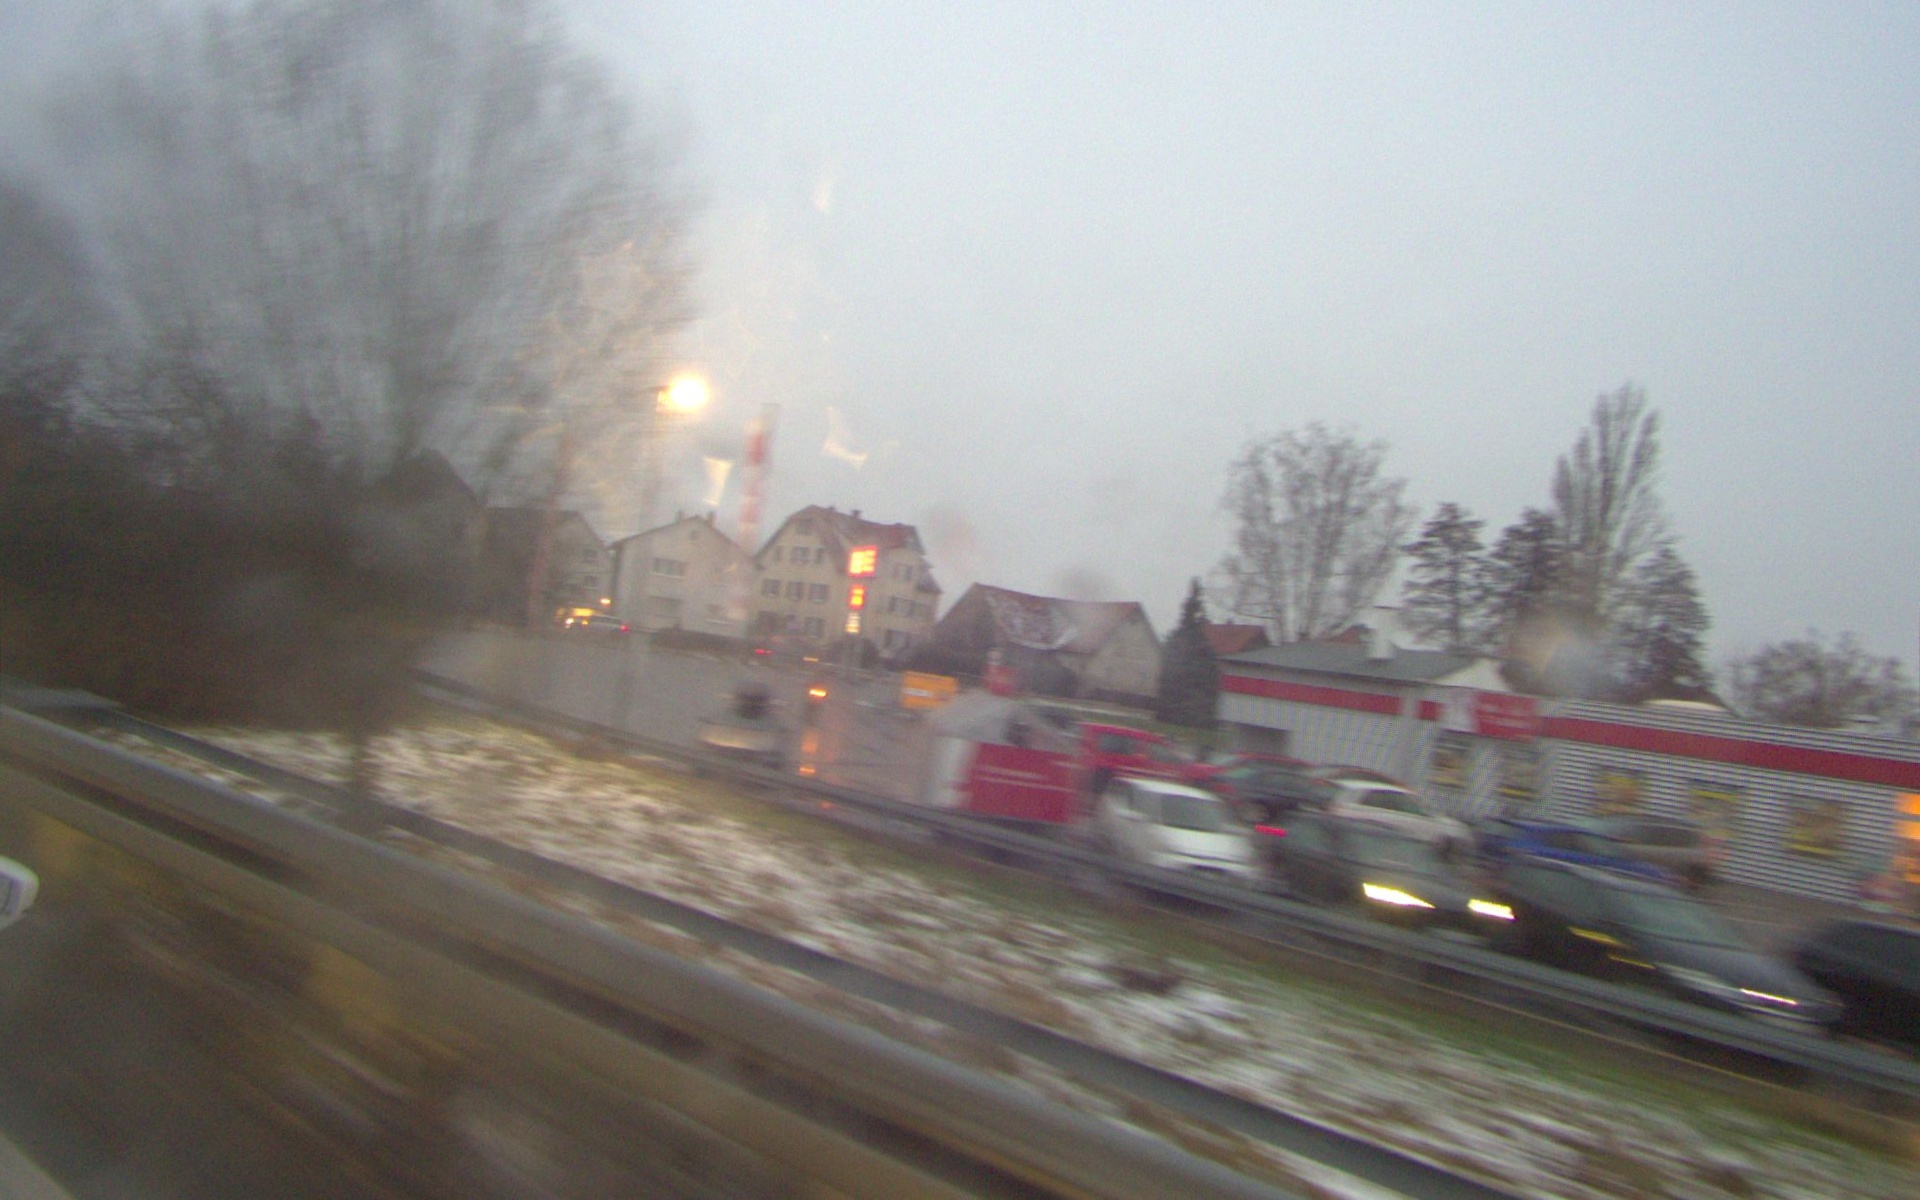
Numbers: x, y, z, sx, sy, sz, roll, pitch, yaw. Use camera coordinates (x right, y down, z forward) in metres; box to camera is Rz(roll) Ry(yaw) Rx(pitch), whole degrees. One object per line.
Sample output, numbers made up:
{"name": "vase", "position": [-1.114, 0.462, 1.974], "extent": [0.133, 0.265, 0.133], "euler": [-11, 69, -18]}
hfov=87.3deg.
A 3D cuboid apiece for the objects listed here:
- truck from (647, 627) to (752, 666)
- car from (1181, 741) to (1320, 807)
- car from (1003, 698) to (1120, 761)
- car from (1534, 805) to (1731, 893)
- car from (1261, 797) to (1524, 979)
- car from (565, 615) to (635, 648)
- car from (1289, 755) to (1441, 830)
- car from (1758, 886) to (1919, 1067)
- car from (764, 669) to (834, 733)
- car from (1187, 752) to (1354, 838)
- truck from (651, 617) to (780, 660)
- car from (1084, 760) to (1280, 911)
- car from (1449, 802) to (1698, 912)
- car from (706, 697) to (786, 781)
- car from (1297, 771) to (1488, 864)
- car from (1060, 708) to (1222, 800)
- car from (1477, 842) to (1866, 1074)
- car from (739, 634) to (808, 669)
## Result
{"name": "truck", "position": [-15.548, 2.768, 60.008], "extent": [5.717, 1.564, 1.933], "euler": [9, -2, -24]}
{"name": "car", "position": [9.085, 5.439, 31.530], "extent": [3.779, 1.409, 1.566], "euler": [9, -2, -13]}
{"name": "car", "position": [3.609, 4.624, 36.076], "extent": [3.773, 1.631, 1.568], "euler": [8, -2, -7]}
{"name": "car", "position": [16.240, 6.011, 24.370], "extent": [3.774, 1.367, 1.568], "euler": [8, -2, -8]}
{"name": "car", "position": [6.050, 4.021, 14.647], "extent": [1.603, 1.436, 3.998], "euler": [8, -2, -6]}
{"name": "car", "position": [-22.921, 2.011, 64.169], "extent": [3.941, 1.533, 1.907], "euler": [8, -2, -17]}
{"name": "car", "position": [11.769, 5.604, 29.319], "extent": [3.779, 1.517, 1.566], "euler": [9, -2, -13]}
{"name": "car", "position": [11.411, 4.415, 10.620], "extent": [1.898, 1.471, 4.587], "euler": [8, -3, -7]}
{"name": "car", "position": [-5.323, 3.314, 33.626], "extent": [1.692, 1.619, 4.036], "euler": [8, -2, -3]}
{"name": "car", "position": [7.925, 4.979, 25.897], "extent": [3.691, 1.446, 1.570], "euler": [8, -2, 2]}
{"name": "truck", "position": [-17.198, 2.705, 70.880], "extent": [8.549, 1.836, 2.404], "euler": [9, -2, -21]}
{"name": "car", "position": [3.448, 3.707, 16.448], "extent": [1.766, 1.455, 3.998], "euler": [8, -2, -7]}
{"name": "car", "position": [13.062, 5.474, 21.558], "extent": [4.240, 1.441, 1.746], "euler": [8, -2, -5]}
{"name": "car", "position": [-4.671, 3.010, 22.243], "extent": [1.367, 1.328, 3.206], "euler": [8, -2, -8]}
{"name": "car", "position": [10.119, 5.091, 23.699], "extent": [3.694, 1.446, 1.569], "euler": [8, -2, -3]}
{"name": "car", "position": [5.062, 4.311, 28.389], "extent": [3.966, 1.890, 1.722], "euler": [8, -1, -7]}
{"name": "car", "position": [8.542, 4.260, 12.592], "extent": [1.603, 1.436, 3.998], "euler": [8, -2, -6]}
{"name": "car", "position": [-12.022, 3.342, 64.824], "extent": [3.950, 1.680, 1.933], "euler": [9, -2, -24]}
